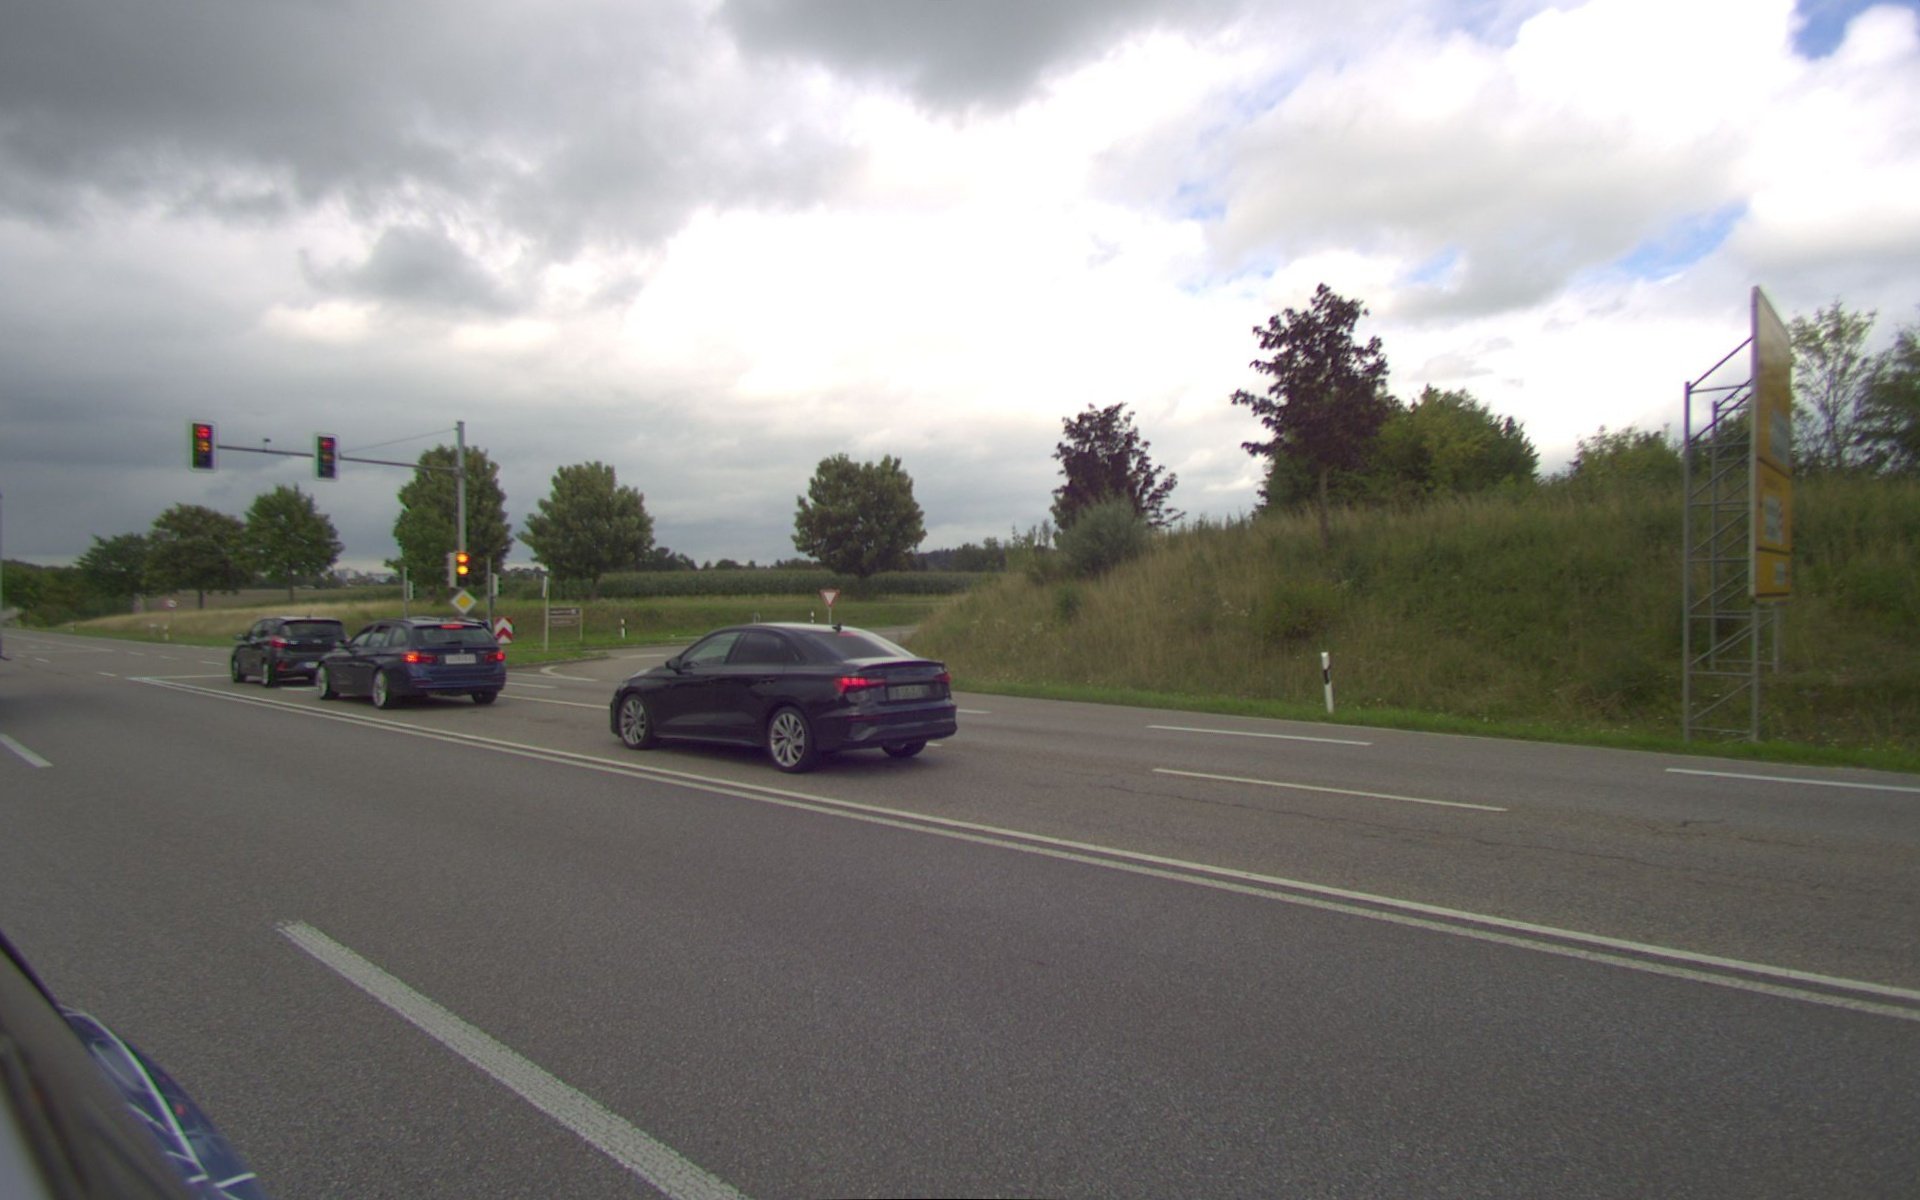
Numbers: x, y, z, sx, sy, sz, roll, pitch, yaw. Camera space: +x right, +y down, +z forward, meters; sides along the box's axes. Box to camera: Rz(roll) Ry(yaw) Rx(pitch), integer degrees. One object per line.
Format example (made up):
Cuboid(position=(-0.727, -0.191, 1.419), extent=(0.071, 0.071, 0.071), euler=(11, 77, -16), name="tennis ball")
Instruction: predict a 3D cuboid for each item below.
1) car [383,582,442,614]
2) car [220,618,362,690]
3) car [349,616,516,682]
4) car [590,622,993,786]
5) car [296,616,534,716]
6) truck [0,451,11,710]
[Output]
Cuboid(position=(-37.877, -0.129, 70.001), extent=(3.990, 2.029, 1.977), euler=(-1, 1, 35), name="car")
Cuboid(position=(-14.865, 1.138, 22.401), extent=(3.943, 1.454, 1.707), euler=(-1, -2, 42), name="car")
Cuboid(position=(-13.700, 1.195, 26.133), extent=(5.122, 1.546, 2.025), euler=(-1, -1, 40), name="car")
Cuboid(position=(-1.963, 0.945, 10.879), extent=(4.539, 1.394, 1.748), euler=(-1, -1, 40), name="car")
Cuboid(position=(-9.562, 1.051, 17.574), extent=(4.878, 1.495, 2.027), euler=(-1, -2, 41), name="car")
Cuboid(position=(-15.816, -0.174, 14.664), extent=(2.796, 3.792, 8.810), euler=(1, -1, -42), name="truck")
